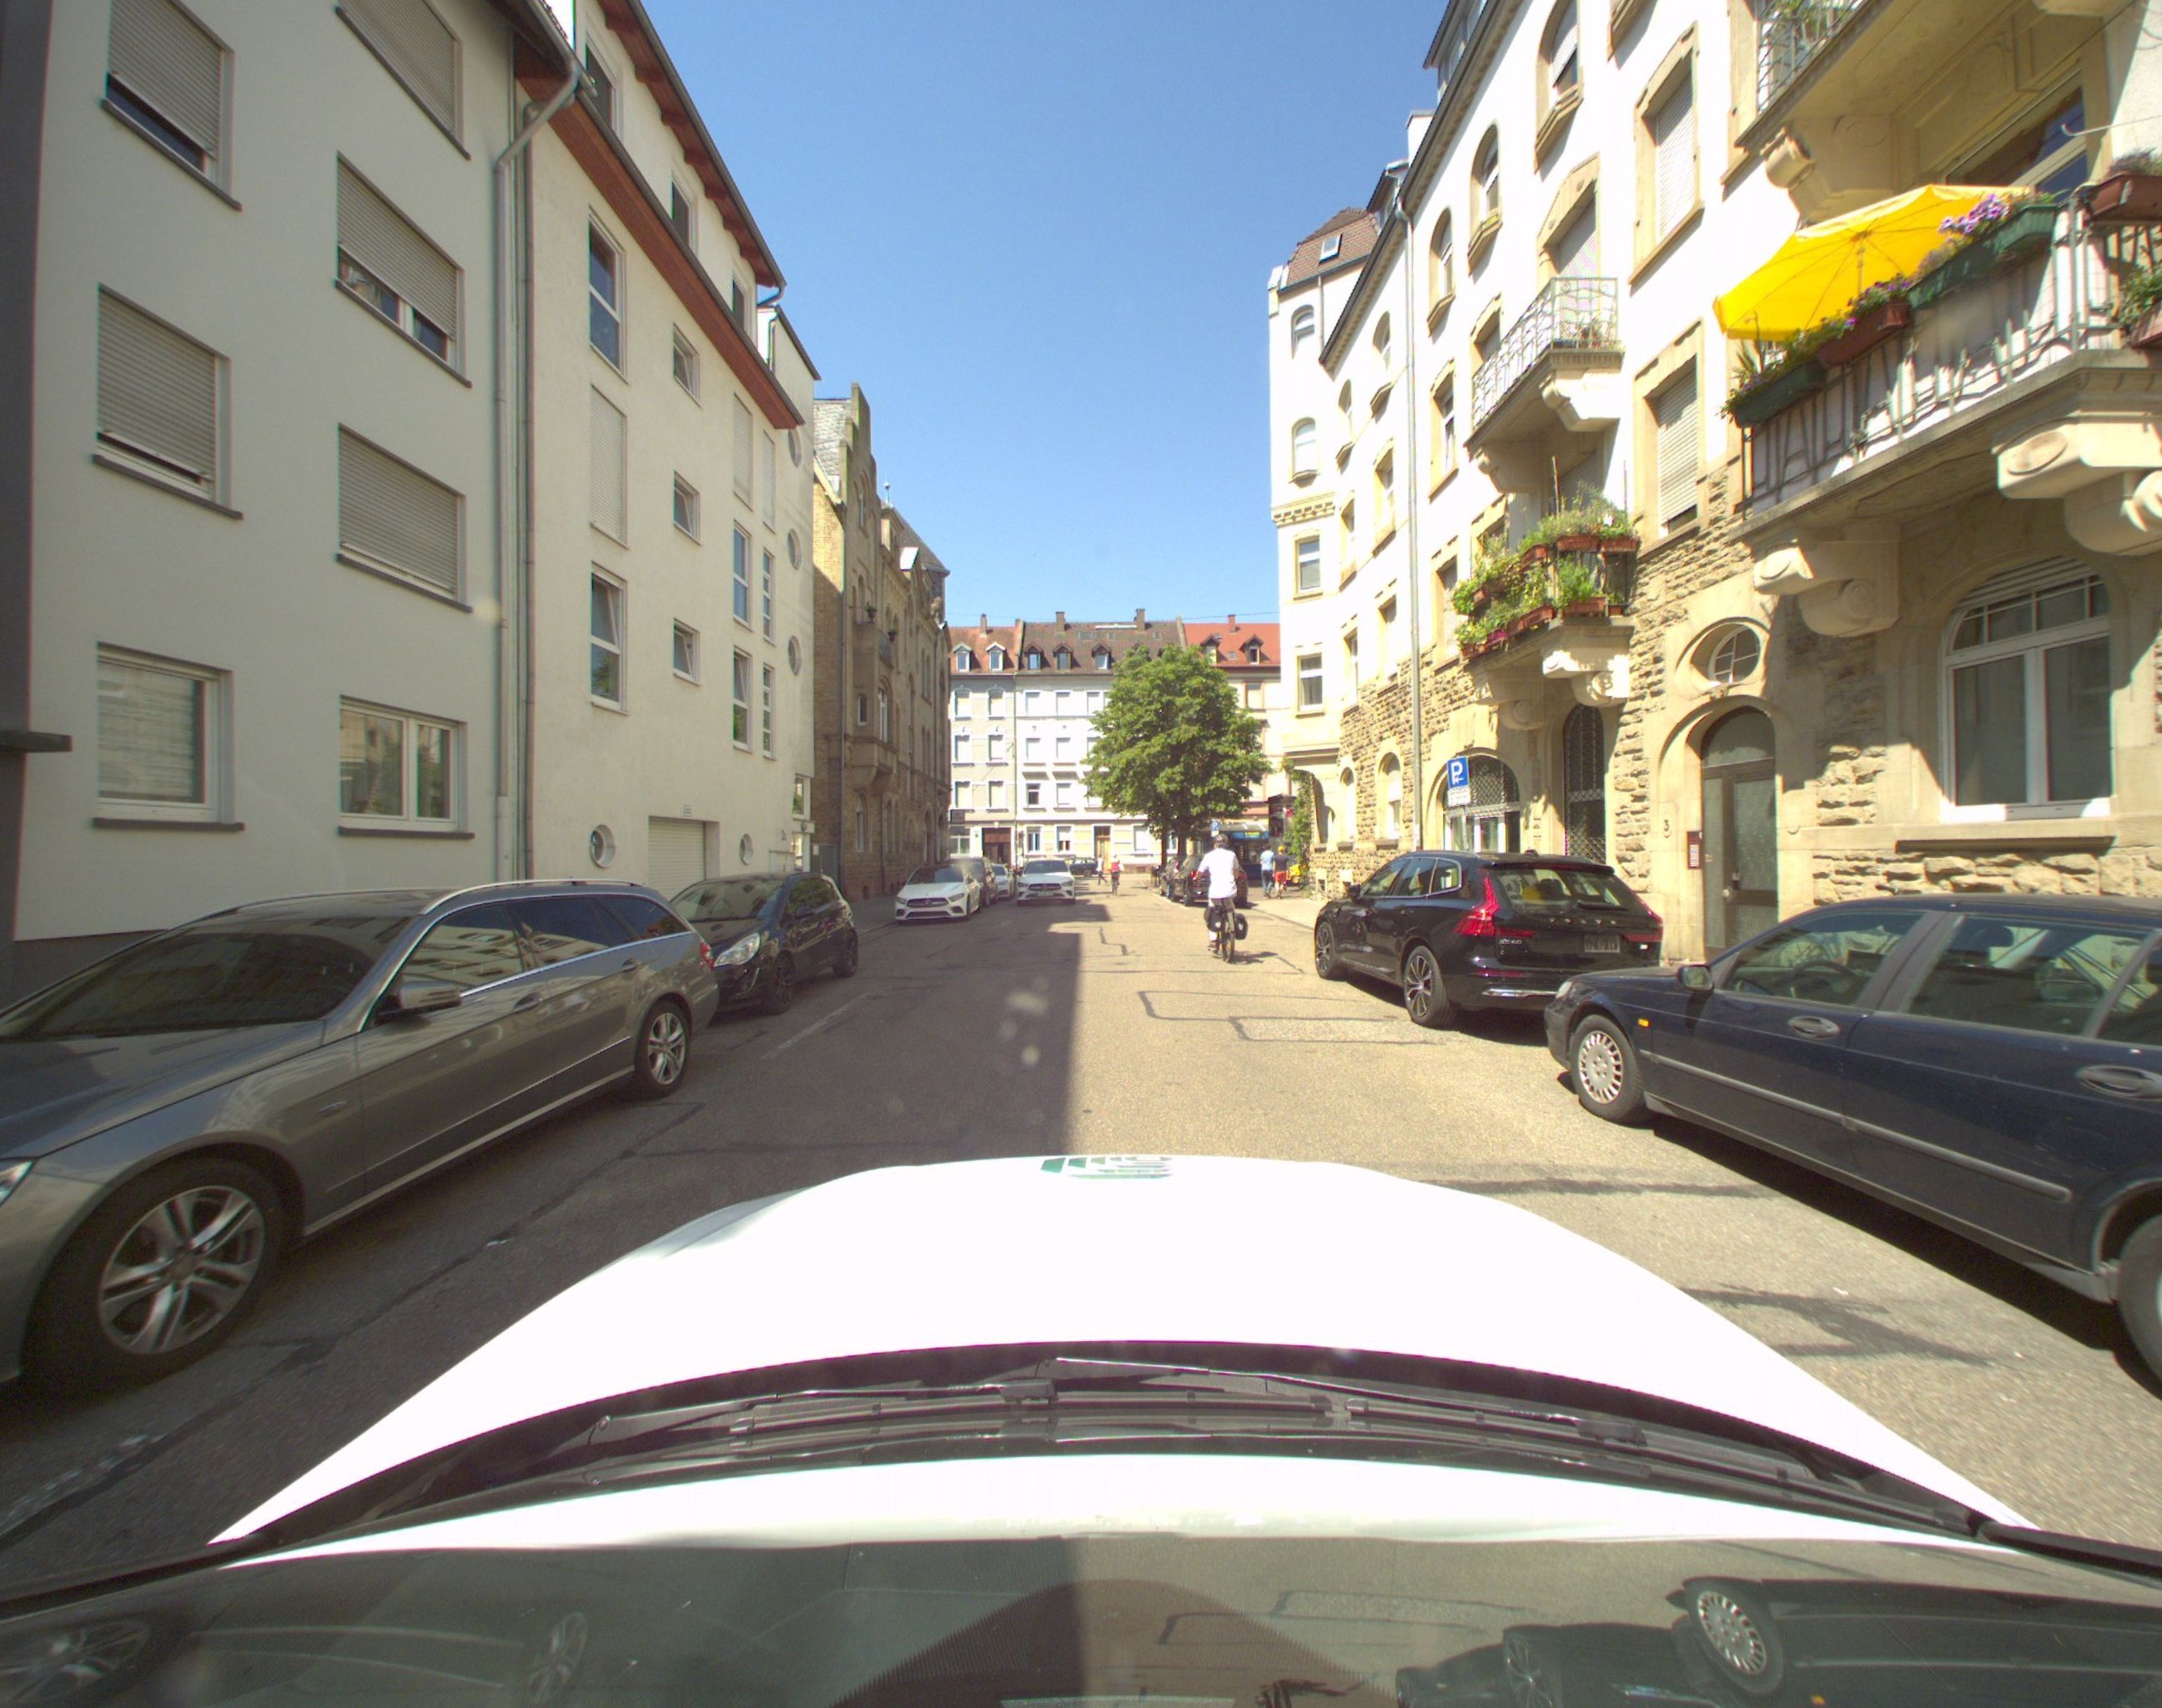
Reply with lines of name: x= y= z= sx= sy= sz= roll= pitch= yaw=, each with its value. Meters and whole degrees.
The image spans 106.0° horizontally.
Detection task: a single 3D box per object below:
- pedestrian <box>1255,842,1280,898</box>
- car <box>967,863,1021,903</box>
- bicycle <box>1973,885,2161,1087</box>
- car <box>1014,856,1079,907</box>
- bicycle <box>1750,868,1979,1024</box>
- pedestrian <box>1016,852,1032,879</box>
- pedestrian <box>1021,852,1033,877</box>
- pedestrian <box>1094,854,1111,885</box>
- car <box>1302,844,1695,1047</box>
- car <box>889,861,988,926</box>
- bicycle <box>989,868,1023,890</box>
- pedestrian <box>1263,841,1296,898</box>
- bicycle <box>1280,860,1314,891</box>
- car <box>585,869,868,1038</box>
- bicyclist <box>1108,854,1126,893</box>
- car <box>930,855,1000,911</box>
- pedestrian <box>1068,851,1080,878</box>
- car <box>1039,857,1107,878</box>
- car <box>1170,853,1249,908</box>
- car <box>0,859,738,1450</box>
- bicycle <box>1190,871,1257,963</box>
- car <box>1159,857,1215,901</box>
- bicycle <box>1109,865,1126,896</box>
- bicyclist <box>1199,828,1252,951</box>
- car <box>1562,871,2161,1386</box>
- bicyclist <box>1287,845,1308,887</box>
pedestrian: x=6.398 y=0.545 z=27.975 sx=0.653 sy=1.869 sz=0.517 roll=0 pitch=-1 yaw=-19
car: x=-3.293 y=1.065 z=31.651 sx=1.697 sy=1.352 sz=4.512 roll=-3 pitch=-1 yaw=-2
bicycle: x=6.891 y=0.834 z=5.212 sx=0.439 sy=1.208 sz=1.776 roll=-1 pitch=-1 yaw=2
car: x=-1.047 y=0.846 z=26.609 sx=1.835 sy=1.461 sz=4.362 roll=-3 pitch=-1 yaw=0
bicycle: x=6.944 y=0.746 z=7.347 sx=0.383 sy=1.208 sz=1.776 roll=-1 pitch=-1 yaw=2
pedestrian: x=-4.105 y=0.823 z=58.615 sx=0.844 sy=1.889 sz=0.938 roll=-1 pitch=-1 yaw=11
pedestrian: x=-3.965 y=0.767 z=59.718 sx=0.899 sy=1.814 sz=0.959 roll=-1 pitch=-1 yaw=-5
pedestrian: x=1.137 y=0.828 z=43.702 sx=0.854 sy=1.672 sz=0.774 roll=-1 pitch=-1 yaw=1
car: x=3.939 y=0.742 z=8.750 sx=1.827 sy=1.567 sz=4.603 roll=2 pitch=0 yaw=0
car: x=-3.624 y=0.954 z=21.469 sx=1.770 sy=1.460 sz=4.279 roll=-3 pitch=-1 yaw=0
bicycle: x=-3.507 y=1.171 z=38.254 sx=1.522 sy=1.008 sz=0.366 roll=2 pitch=-1 yaw=-4
pedestrian: x=6.689 y=0.529 z=27.407 sx=0.883 sy=1.880 sz=0.597 roll=0 pitch=-1 yaw=-20
bicycle: x=8.625 y=0.839 z=32.422 sx=0.786 sy=1.169 sz=2.593 roll=-1 pitch=-1 yaw=27
car: x=-3.872 y=0.973 z=9.663 sx=1.562 sy=1.491 sz=3.893 roll=-3 pitch=-1 yaw=0
bicyclist: x=1.439 y=0.785 z=32.813 sx=0.668 sy=1.533 sz=0.609 roll=-1 pitch=-1 yaw=1
car: x=-3.635 y=0.885 z=26.227 sx=1.667 sy=1.583 sz=4.050 roll=-3 pitch=-1 yaw=-1
pedestrian: x=-0.529 y=0.758 z=58.026 sx=0.724 sy=1.853 sz=0.683 roll=-1 pitch=-1 yaw=-9
car: x=-0.541 y=0.986 z=59.321 sx=4.843 sy=1.437 sz=2.000 roll=-1 pitch=-1 yaw=0
car: x=4.018 y=0.794 z=26.083 sx=1.731 sy=1.597 sz=4.345 roll=2 pitch=0 yaw=-1
car: x=-3.615 y=0.830 z=4.166 sx=1.651 sy=1.518 sz=4.671 roll=-3 pitch=-1 yaw=0
bicycle: x=2.128 y=0.897 z=12.457 sx=0.649 sy=1.228 sz=2.442 roll=1 pitch=-1 yaw=2
car: x=4.036 y=0.917 z=31.582 sx=1.657 sy=1.540 sz=4.178 roll=2 pitch=0 yaw=1
bicycle: x=1.468 y=1.040 z=32.881 sx=0.649 sy=1.209 sz=2.442 roll=1 pitch=-1 yaw=2
bicyclist: x=2.130 y=0.516 z=12.078 sx=0.668 sy=1.760 sz=0.609 roll=1 pitch=-1 yaw=1
car: x=3.795 y=0.835 z=3.083 sx=1.508 sy=1.399 sz=3.970 roll=3 pitch=0 yaw=-1
bicyclist: x=8.629 y=0.459 z=32.428 sx=0.671 sy=1.648 sz=0.665 roll=-1 pitch=-1 yaw=24
